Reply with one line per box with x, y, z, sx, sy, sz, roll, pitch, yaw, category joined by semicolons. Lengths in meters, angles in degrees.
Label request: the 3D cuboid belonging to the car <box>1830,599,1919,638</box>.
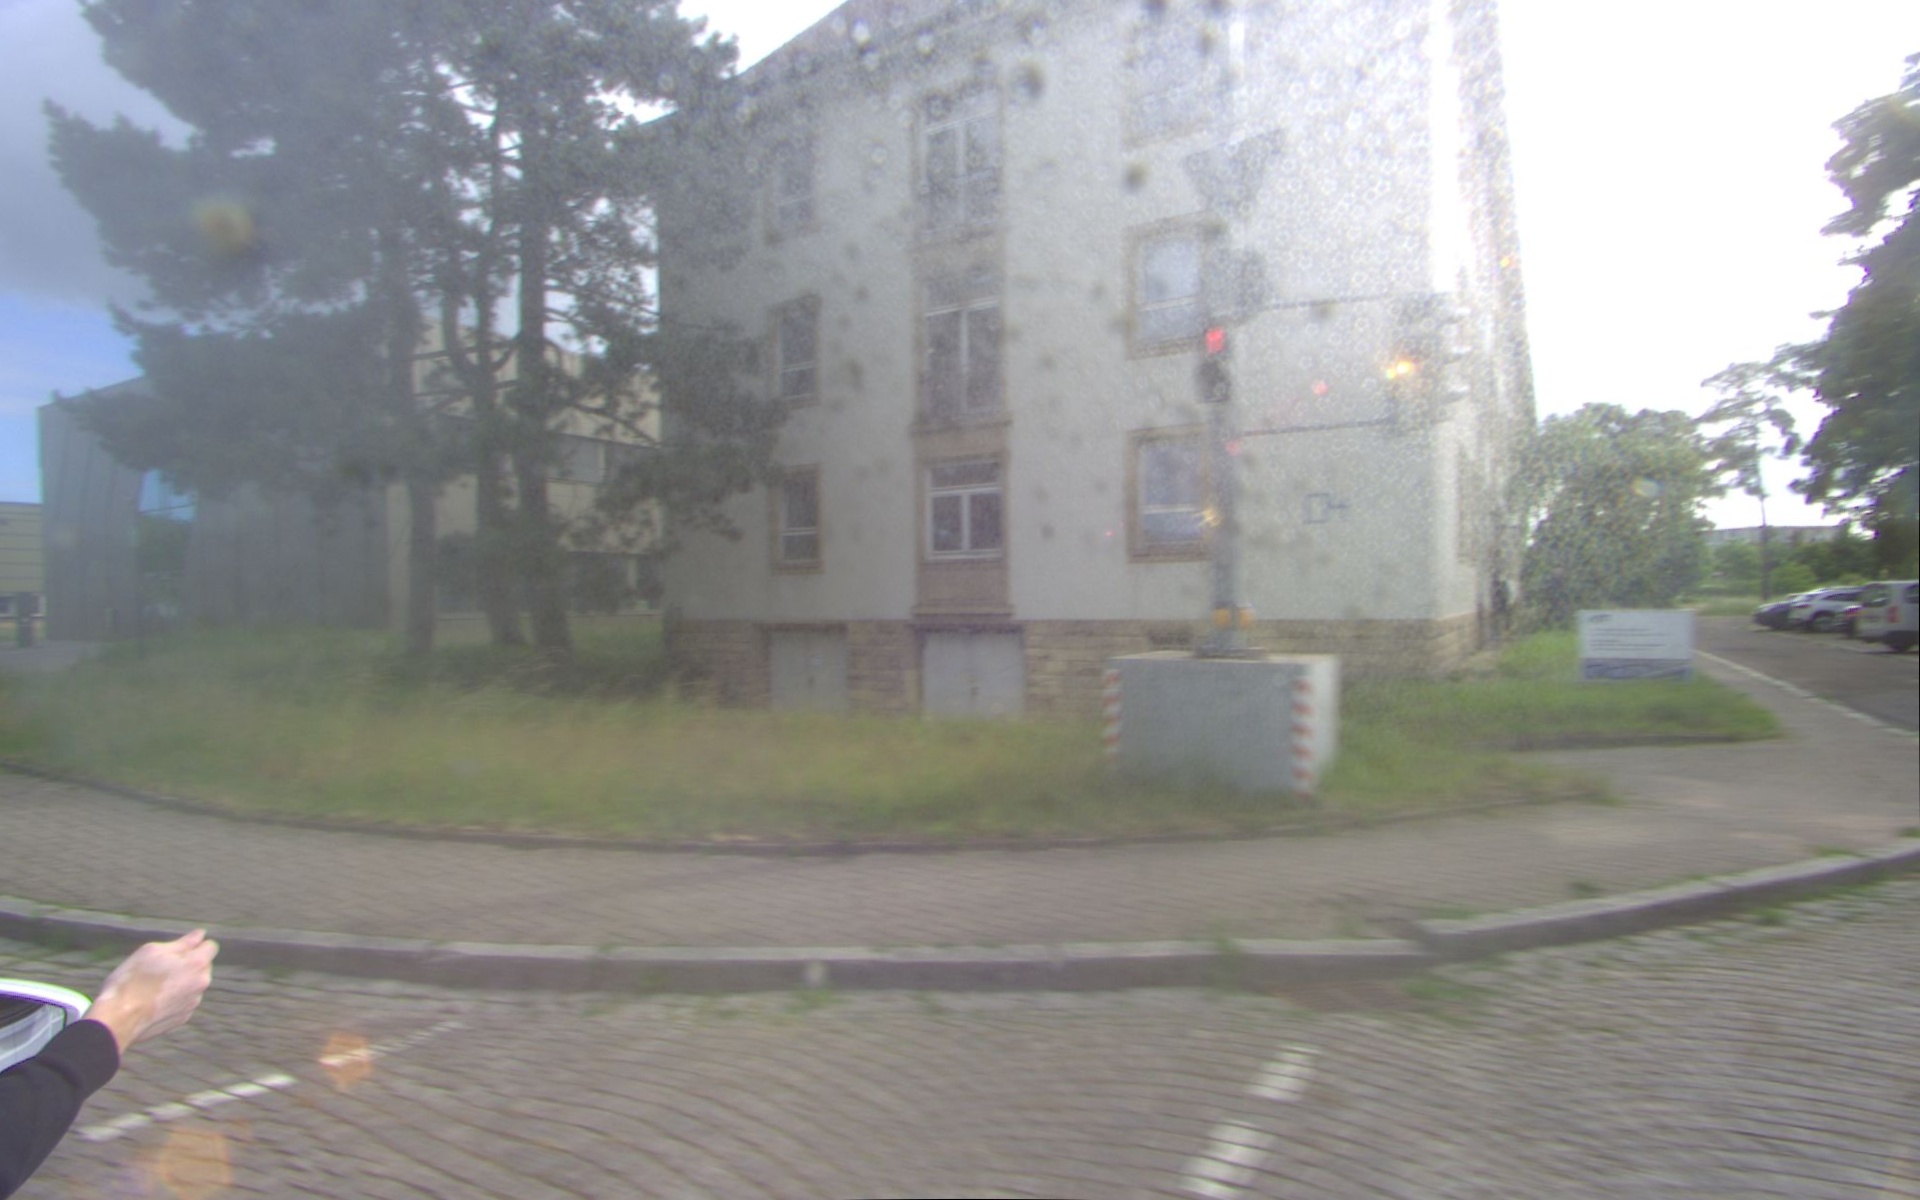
31.098;0.588;32.576;3.939;1.215;1.696;0;0;29;car

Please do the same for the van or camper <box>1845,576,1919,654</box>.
26.738;0.368;25.645;5.659;1.983;2.233;0;0;19;van or camper

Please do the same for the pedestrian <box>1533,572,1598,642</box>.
16.838;0.186;27.886;1.177;1.895;1.547;1;1;18;pedestrian

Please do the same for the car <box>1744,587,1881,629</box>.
34.542;0.333;40.698;3.939;1.621;1.696;0;0;29;car

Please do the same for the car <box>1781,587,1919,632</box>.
33.563;0.354;37.629;3.939;1.621;1.696;0;0;29;car
